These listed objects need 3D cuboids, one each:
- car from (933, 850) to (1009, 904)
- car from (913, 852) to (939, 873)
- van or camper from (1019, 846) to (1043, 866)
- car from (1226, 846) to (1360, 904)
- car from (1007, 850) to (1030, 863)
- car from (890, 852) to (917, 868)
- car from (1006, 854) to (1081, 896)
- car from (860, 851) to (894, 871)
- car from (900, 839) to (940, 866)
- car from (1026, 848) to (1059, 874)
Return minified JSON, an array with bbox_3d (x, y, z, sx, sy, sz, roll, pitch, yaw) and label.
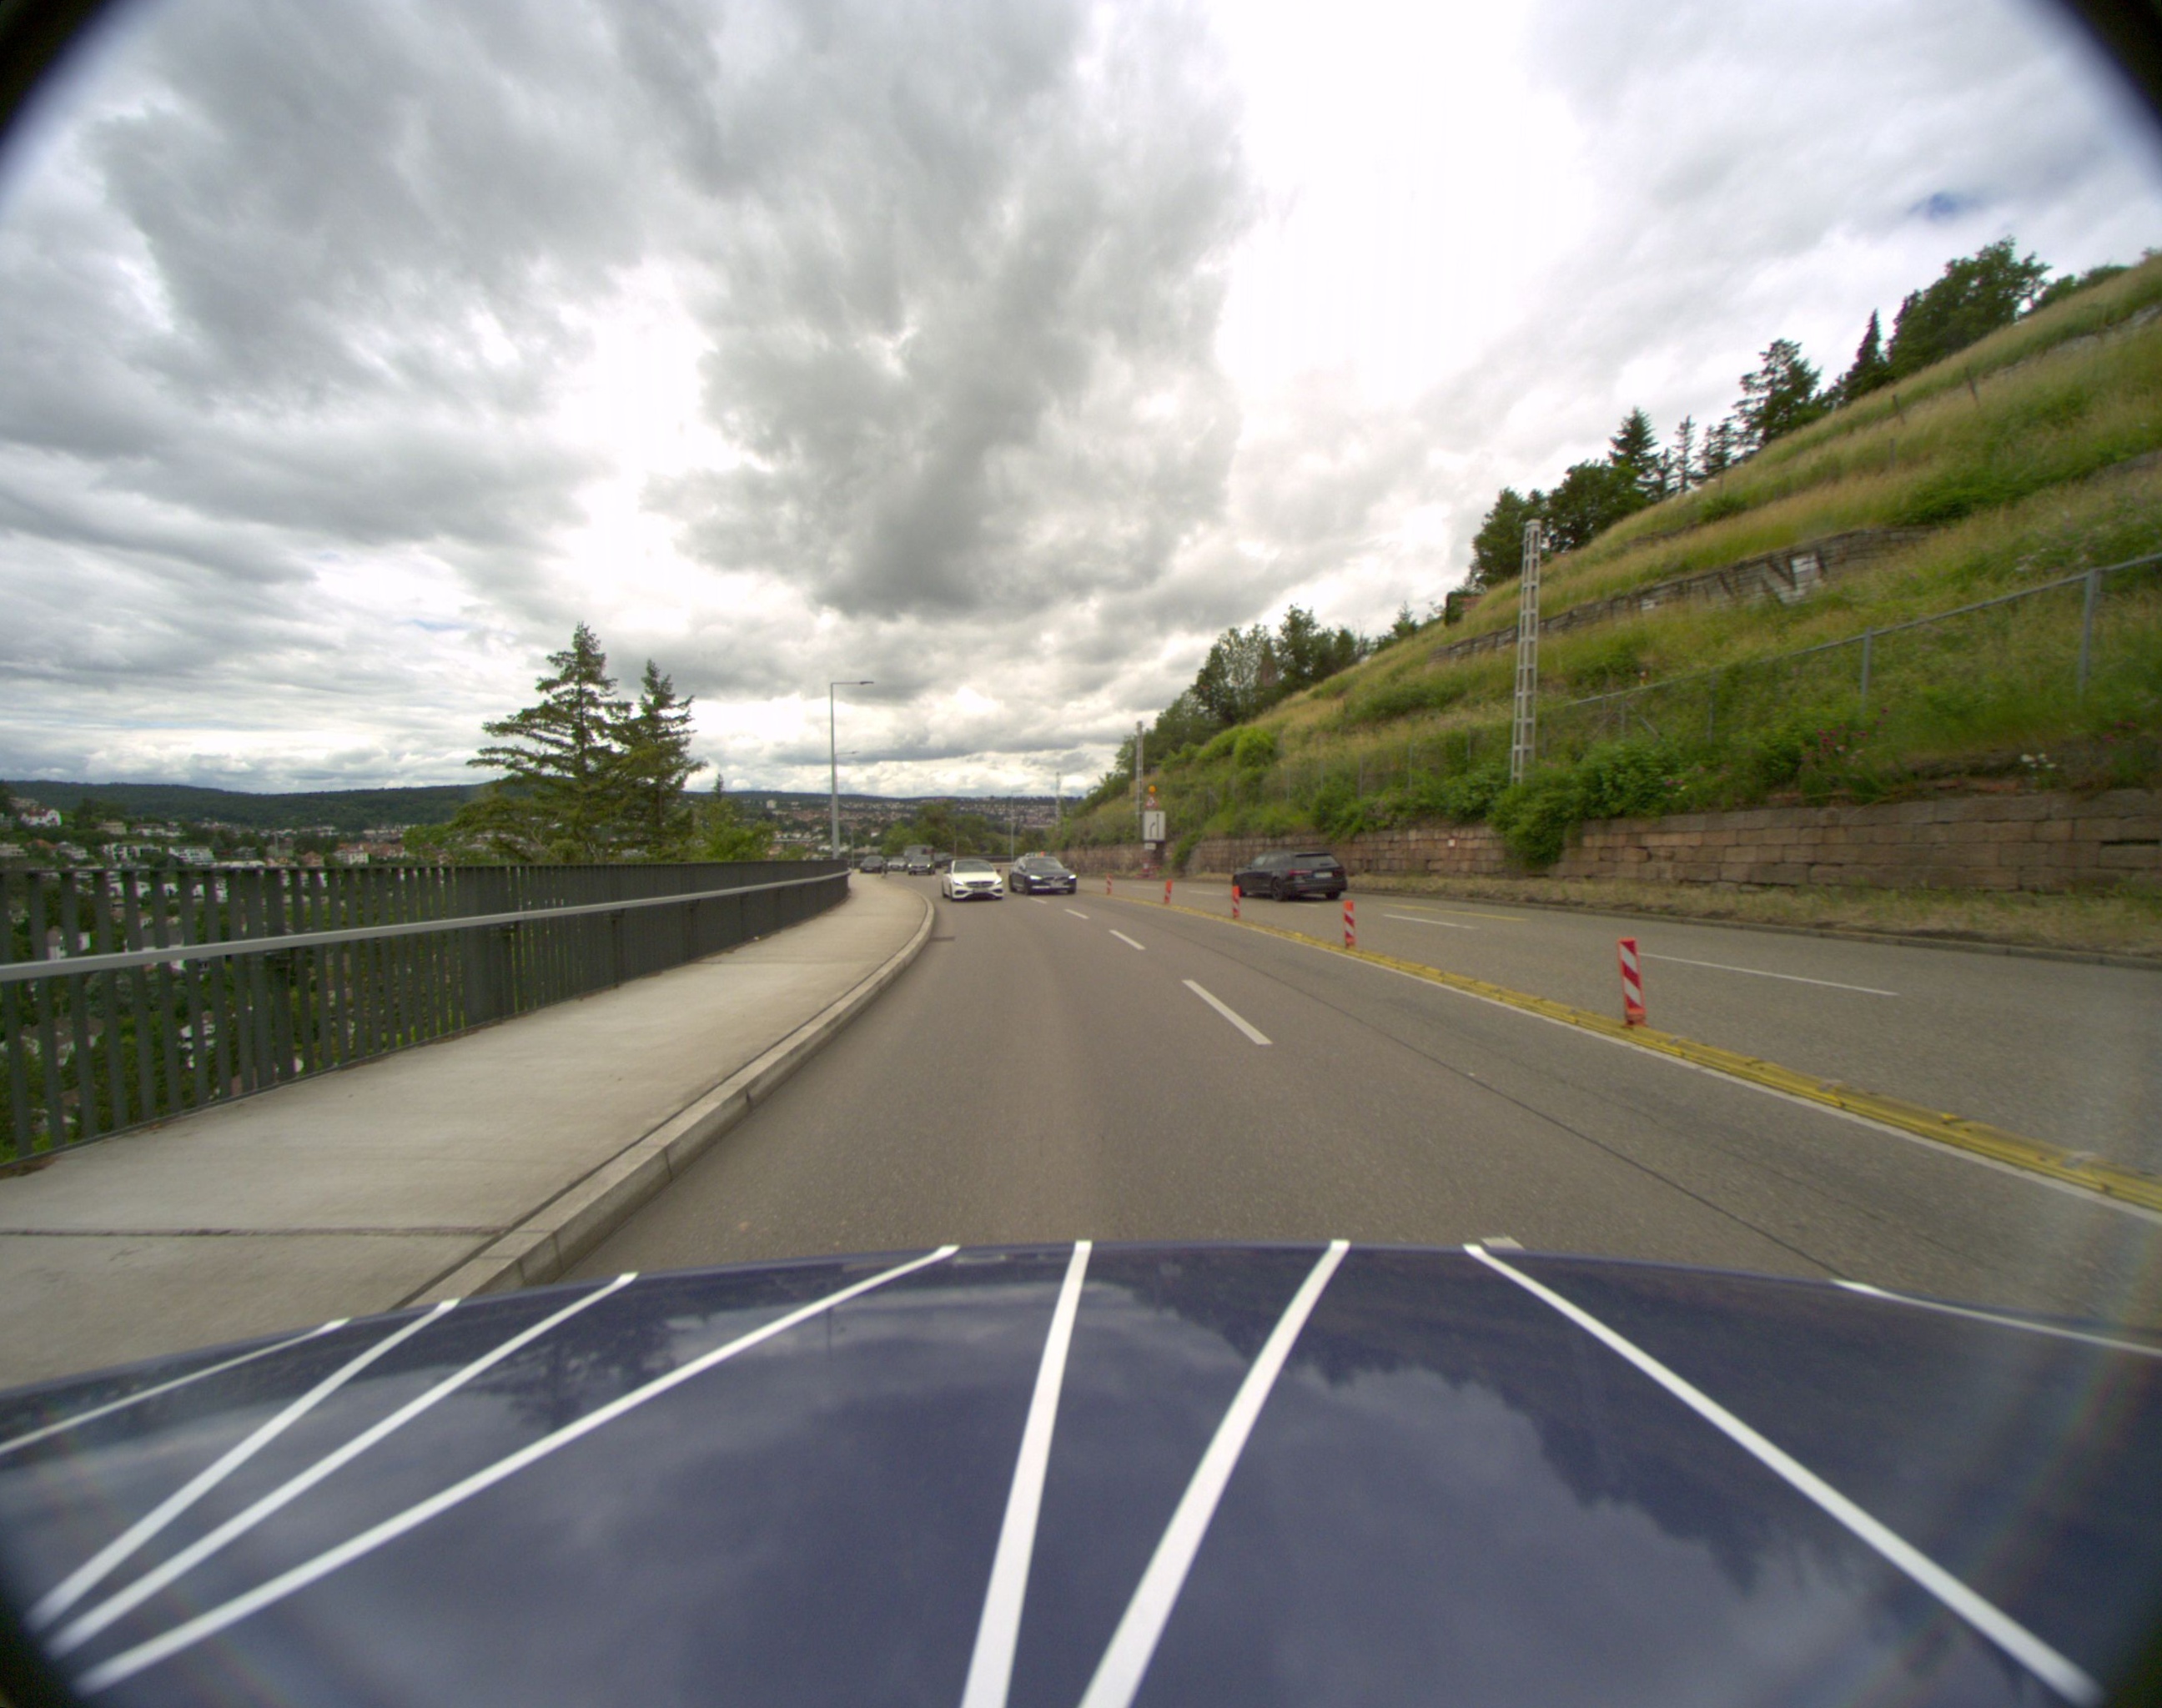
[{"bbox_3d":[-4.033,0.771,27.358,2.001,1.708,3.994,-2,0,-18],"label":"car"},{"bbox_3d":[-12.813,0.670,62.924,2.000,1.661,4.533,-1,0,-11],"label":"car"},{"bbox_3d":[-5.186,0.187,79.166,2.153,2.004,4.963,1,0,-1],"label":"van or camper"},{"bbox_3d":[5.963,0.520,21.966,1.857,1.405,4.410,-3,2,-12],"label":"car"},{"bbox_3d":[-8.528,0.319,103.916,1.997,1.661,4.541,-1,0,12],"label":"car"},{"bbox_3d":[-16.888,0.557,72.345,1.719,1.423,3.849,1,1,-1],"label":"car"},{"bbox_3d":[-1.557,0.772,29.950,1.904,1.485,4.134,0,1,-19],"label":"car"},{"bbox_3d":[-16.847,0.566,62.927,1.880,1.534,4.088,0,1,-3],"label":"car"},{"bbox_3d":[-16.539,-0.171,78.602,2.171,2.507,5.773,4,1,7],"label":"car"},{"bbox_3d":[-2.861,0.502,55.815,1.857,1.772,4.729,-3,1,-9],"label":"car"}]
